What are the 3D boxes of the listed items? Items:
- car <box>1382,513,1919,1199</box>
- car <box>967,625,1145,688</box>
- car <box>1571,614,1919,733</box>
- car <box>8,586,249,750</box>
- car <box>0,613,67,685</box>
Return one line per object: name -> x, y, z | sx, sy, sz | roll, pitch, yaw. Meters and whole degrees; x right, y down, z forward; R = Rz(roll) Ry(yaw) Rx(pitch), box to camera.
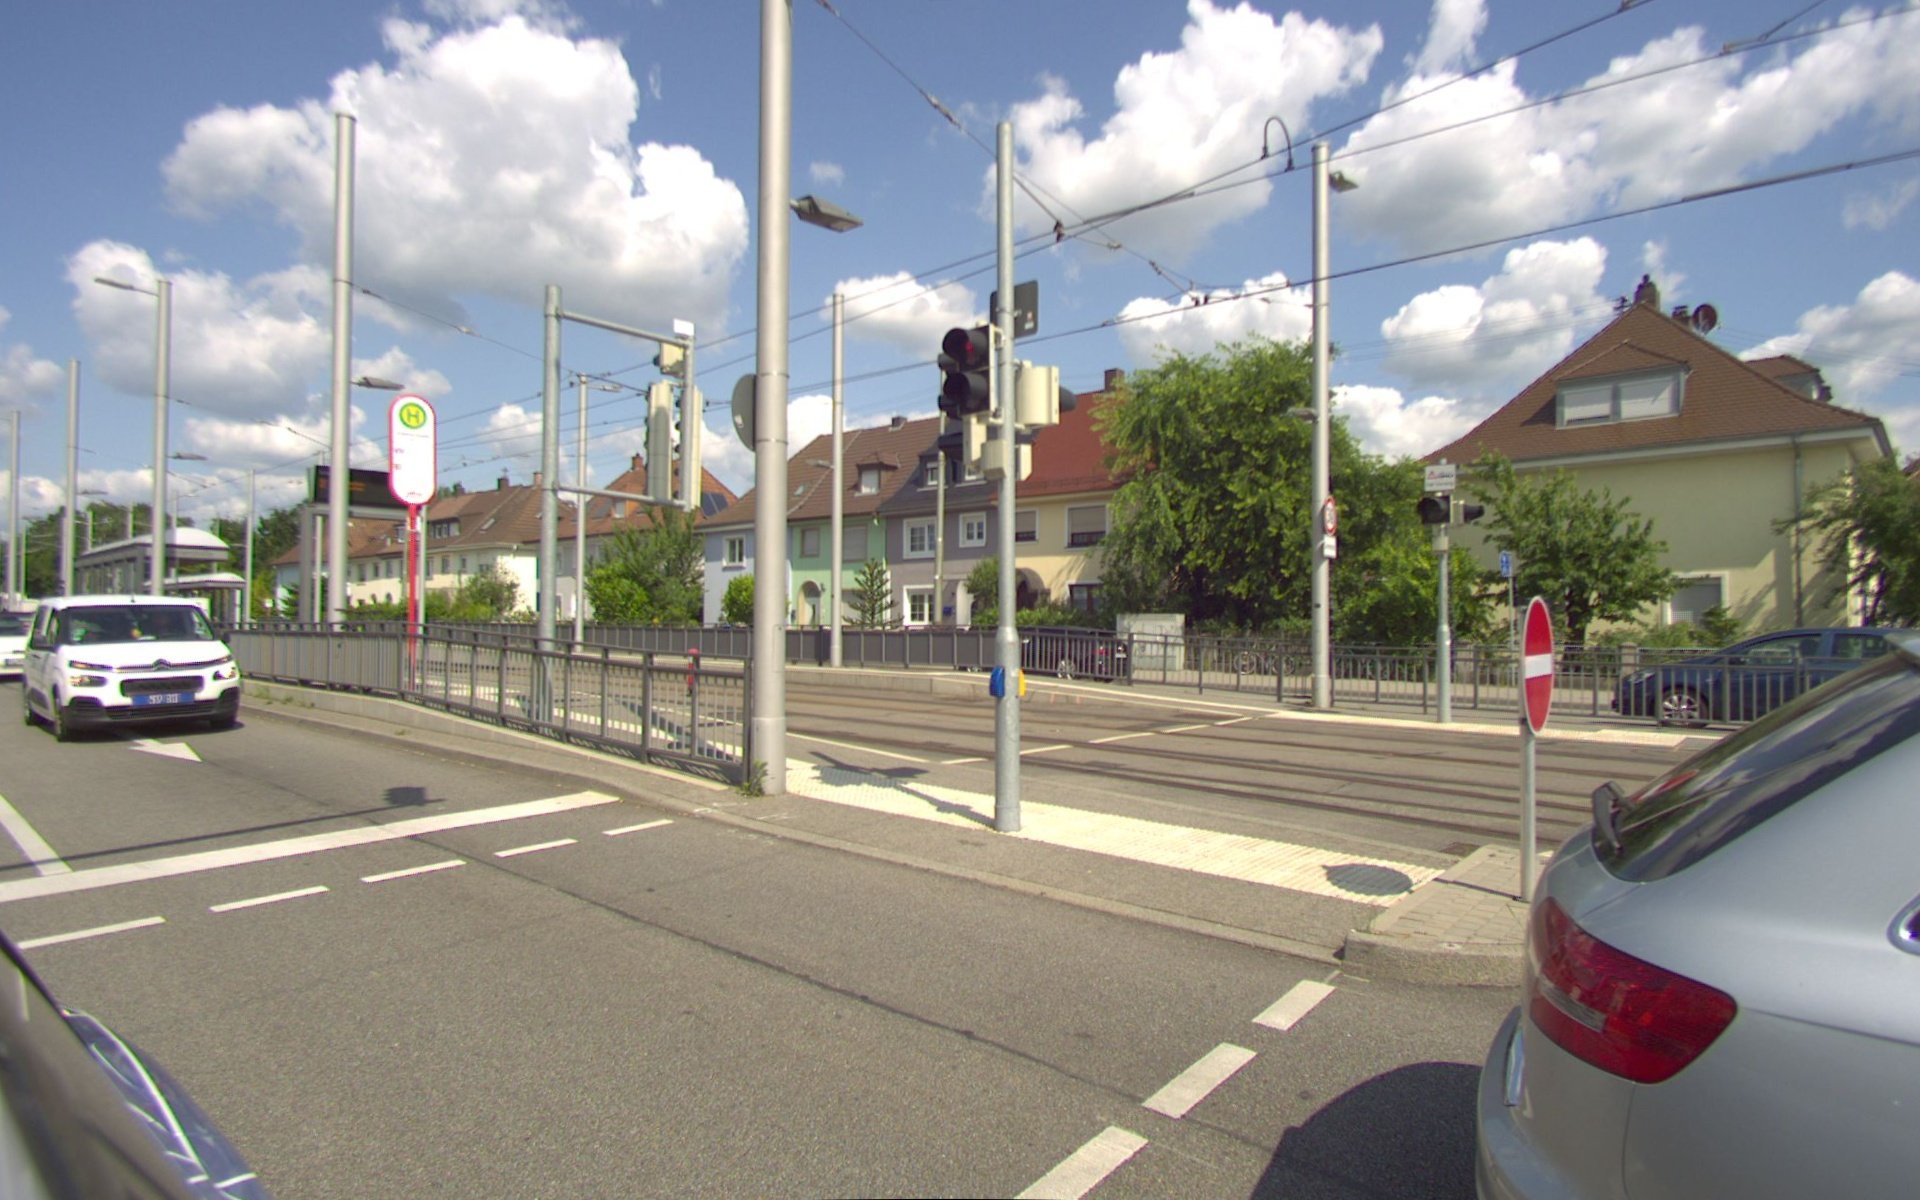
car -> 2.956, 0.627, 0.551 | 4.719, 1.483, 1.776 | -1, -2, 41
car -> 2.382, 1.380, 25.727 | 4.342, 1.362, 1.667 | 0, 0, 40
car -> 10.820, 0.901, 13.677 | 4.176, 1.362, 1.666 | 0, 0, 42
car -> -11.079, 0.749, 13.373 | 4.327, 1.829, 1.776 | 0, 0, 41
car -> -21.758, 1.072, 22.975 | 3.389, 1.515, 1.660 | -1, 0, 38
